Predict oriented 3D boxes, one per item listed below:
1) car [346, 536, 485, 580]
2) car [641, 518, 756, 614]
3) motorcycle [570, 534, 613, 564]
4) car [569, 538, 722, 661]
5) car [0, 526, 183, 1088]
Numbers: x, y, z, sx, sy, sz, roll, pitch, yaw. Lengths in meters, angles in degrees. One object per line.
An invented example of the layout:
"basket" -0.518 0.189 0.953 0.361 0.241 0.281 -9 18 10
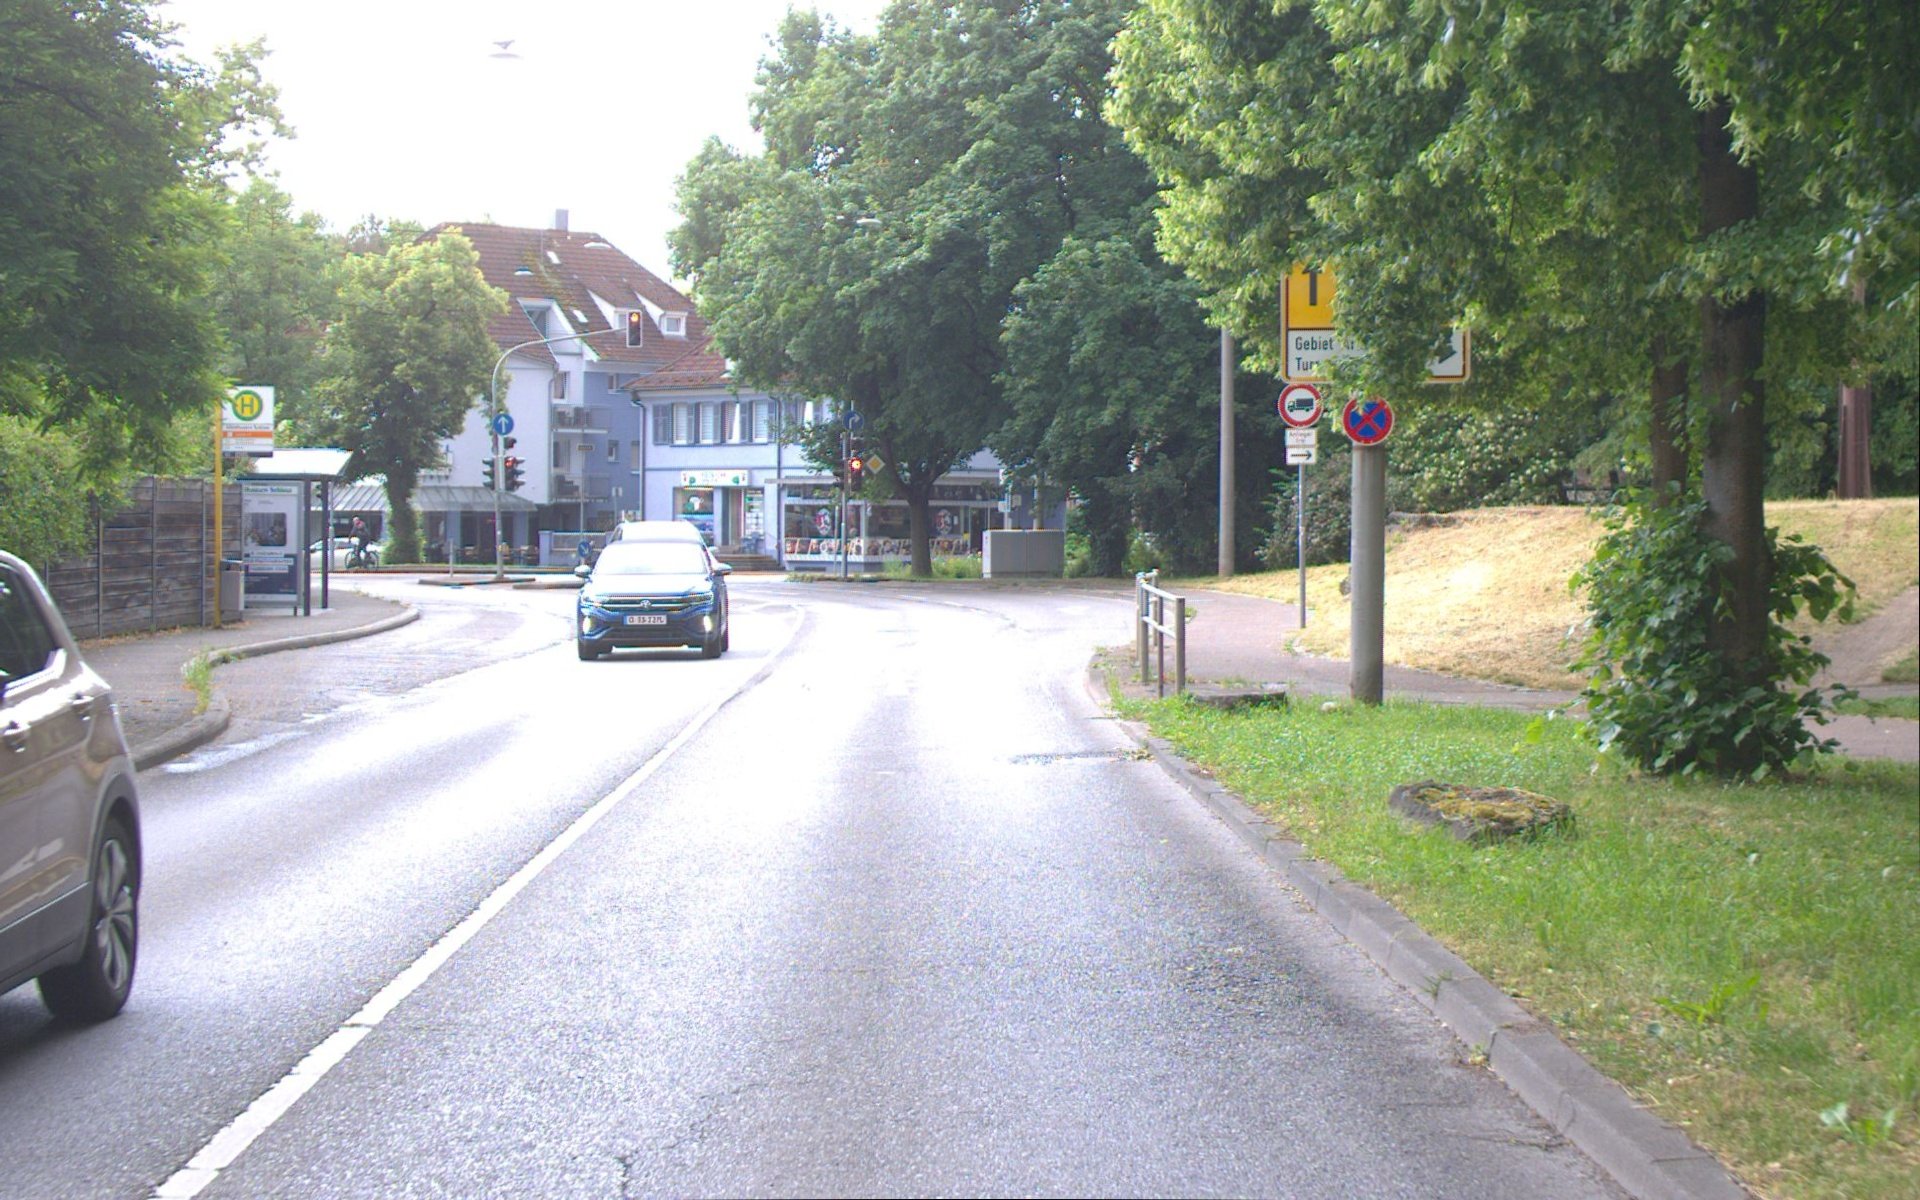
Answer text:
"car" -19.805 -1.536 125.129 4.580 1.512 1.999 -1 1 14
"car" -4.912 -0.661 65.084 1.935 1.718 4.692 -1 1 -2
"motorcycle" -14.418 -1.987 134.443 1.496 1.103 0.560 -1 6 13
"car" -4.007 -0.041 44.273 1.716 1.463 4.100 -1 1 -2
"car" -3.444 0.570 9.476 1.704 1.506 4.000 -1 1 -1
